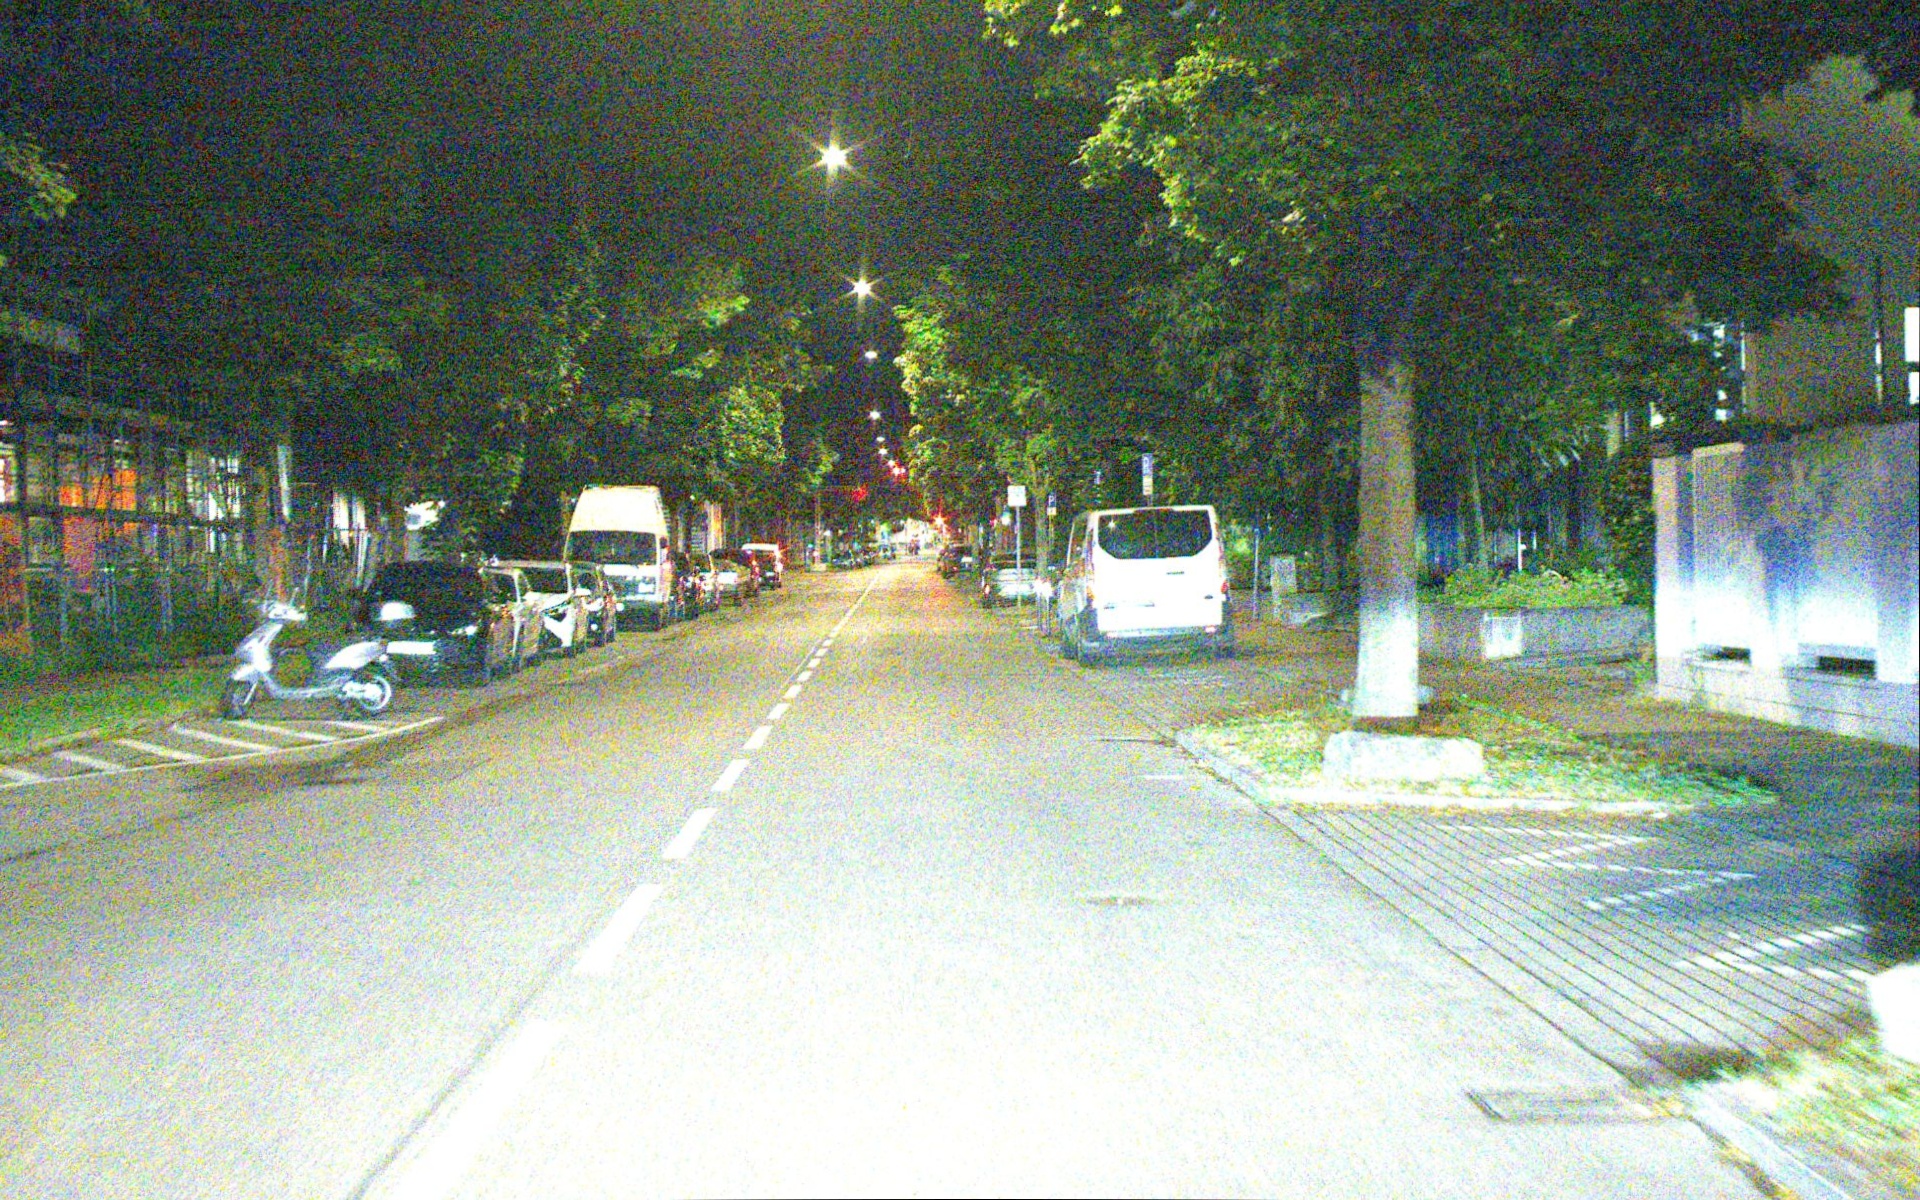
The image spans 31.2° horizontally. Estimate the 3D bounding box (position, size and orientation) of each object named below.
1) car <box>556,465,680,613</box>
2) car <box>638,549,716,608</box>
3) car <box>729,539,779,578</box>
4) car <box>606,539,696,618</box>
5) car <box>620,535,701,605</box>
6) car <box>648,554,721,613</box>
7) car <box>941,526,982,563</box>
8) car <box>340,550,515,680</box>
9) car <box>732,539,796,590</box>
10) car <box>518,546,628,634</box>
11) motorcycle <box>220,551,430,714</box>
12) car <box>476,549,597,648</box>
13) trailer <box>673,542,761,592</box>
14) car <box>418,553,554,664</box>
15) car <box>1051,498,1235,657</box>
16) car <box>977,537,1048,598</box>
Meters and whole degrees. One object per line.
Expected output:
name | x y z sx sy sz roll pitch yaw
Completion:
car | -6.975 -1.252 70.613 2.179 2.899 4.910 1 1 -2
car | -7.144 -0.557 87.062 1.704 1.407 4.634 0 1 -1
car | -8.202 -1.668 137.330 1.700 1.428 3.828 2 1 0
car | -6.782 -0.505 75.759 1.742 1.601 4.116 -2 1 -3
car | -7.079 -0.724 81.611 1.742 1.601 4.299 0 1 -3
car | -7.369 -0.456 92.250 1.716 1.496 4.206 2 1 -2
car | 0.066 -2.535 157.507 1.853 1.648 4.209 0 1 0
car | -6.555 0.145 42.646 1.642 1.499 3.904 1 1 -2
car | -6.553 -1.211 115.046 1.822 1.593 4.073 2 1 0
car | -6.729 -0.167 60.091 1.645 1.500 3.861 0 0 -2
motorcycle | -6.169 0.318 33.397 1.901 1.544 0.639 1 0 -20
car | -6.587 -0.049 53.701 1.547 1.450 3.368 1 1 -2
trailer | -7.026 -0.965 100.038 2.110 1.330 5.435 2 1 0
car | -6.572 0.089 47.953 1.444 1.425 3.904 2 1 -2
car | 2.320 -0.319 44.736 1.950 1.957 4.604 0 1 -2
car | 1.344 -0.836 86.863 1.668 1.424 4.148 -3 1 1
